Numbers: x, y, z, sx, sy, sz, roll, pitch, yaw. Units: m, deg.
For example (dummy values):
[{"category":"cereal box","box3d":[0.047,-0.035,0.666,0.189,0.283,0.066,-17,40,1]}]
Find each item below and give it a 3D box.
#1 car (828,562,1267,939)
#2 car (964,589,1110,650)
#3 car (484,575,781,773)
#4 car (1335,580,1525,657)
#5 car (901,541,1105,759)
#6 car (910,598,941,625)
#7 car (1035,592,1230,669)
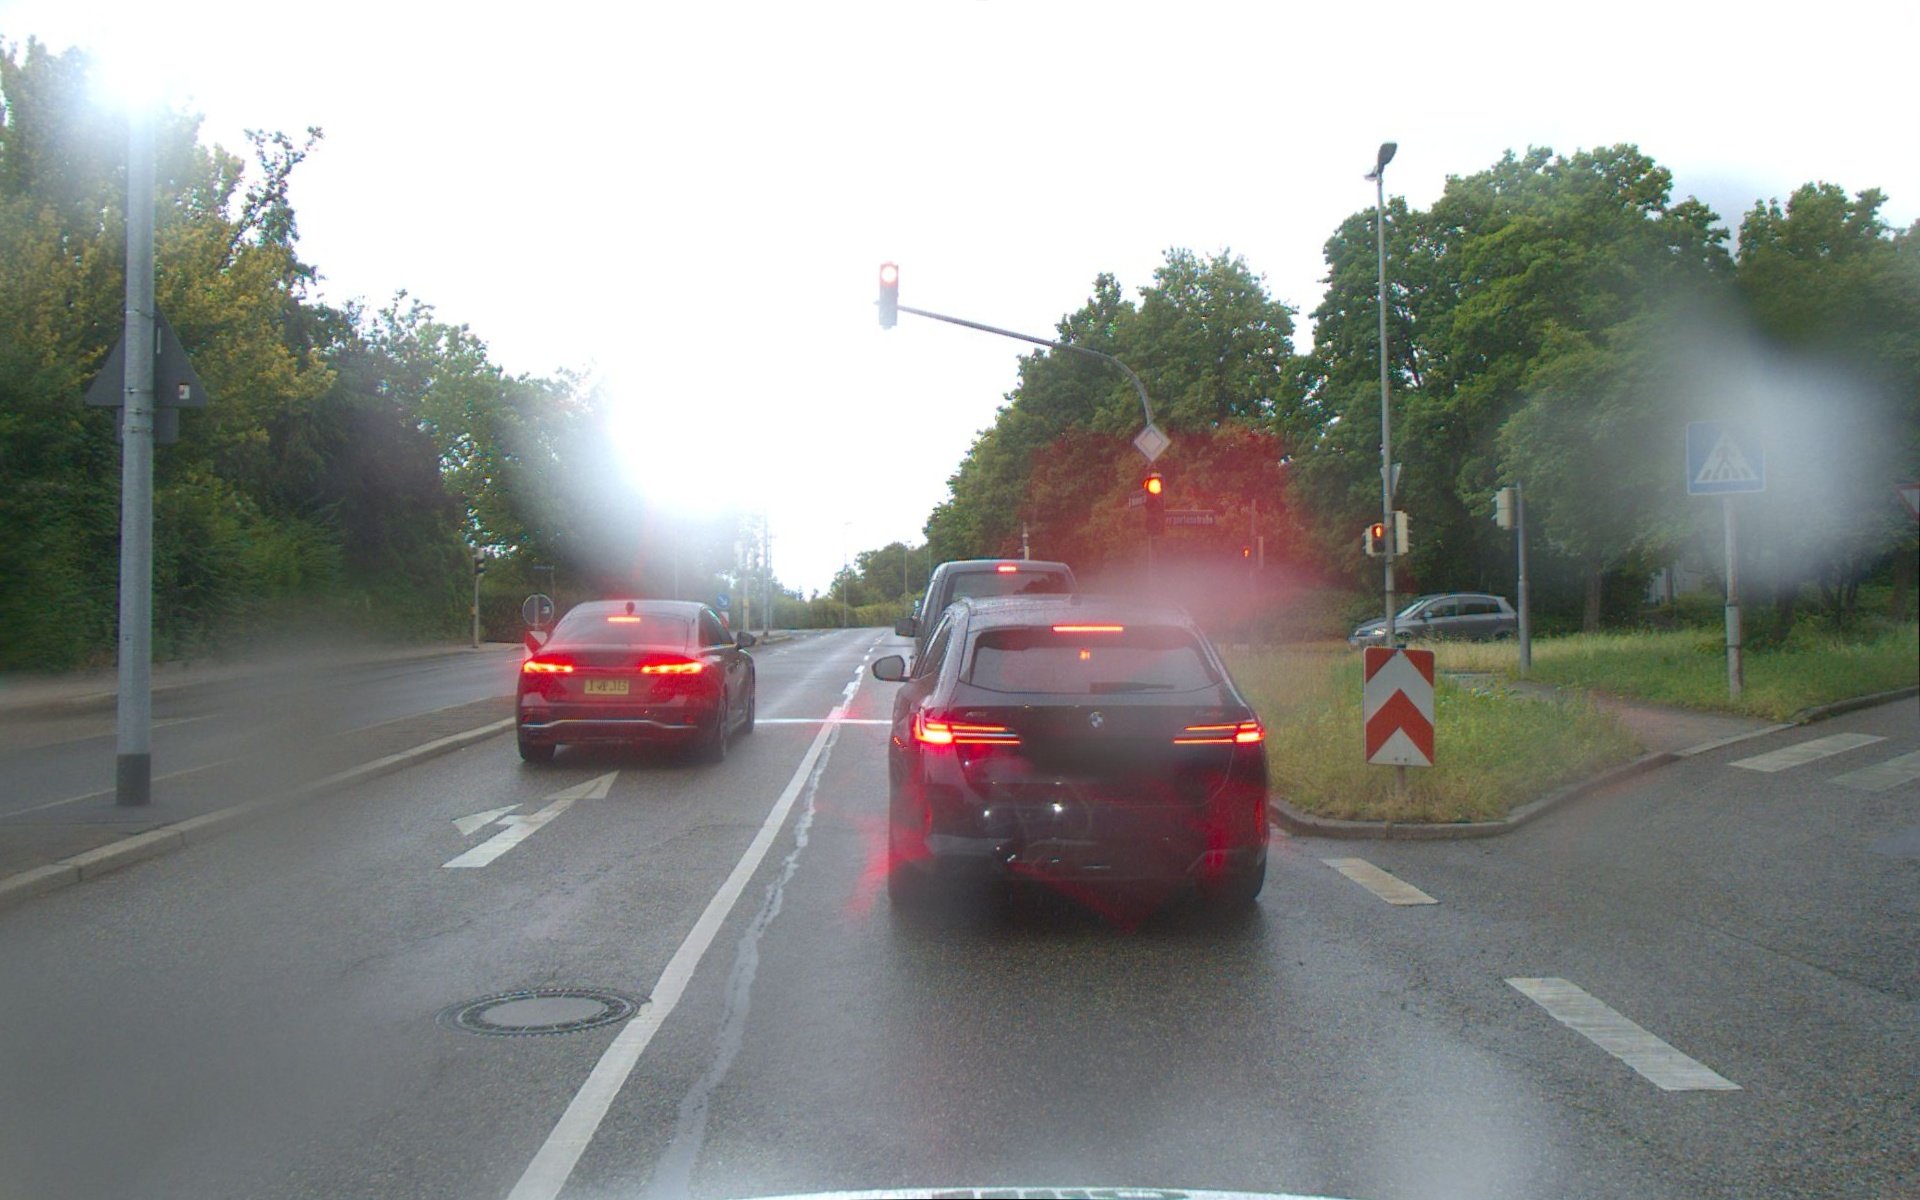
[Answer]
[{"category":"car","box3d":[0.401,0.657,9.466,1.859,1.578,4.615,-2,0,0]},{"category":"car","box3d":[2.026,0.508,43.362,3.429,1.452,1.703,-2,0,20]},{"category":"car","box3d":[-2.948,0.624,15.872,1.953,1.554,4.327,-2,0,0]},{"category":"car","box3d":[11.082,0.424,39.096,3.946,1.630,1.744,-2,0,-10]},{"category":"car","box3d":[0.365,0.451,16.500,1.781,1.901,3.952,0,0,0]},{"category":"car","box3d":[-2.295,0.757,110.221,1.953,1.652,3.952,-2,0,0]},{"category":"car","box3d":[3.820,0.654,36.864,3.916,1.535,1.896,-2,0,-11]}]
